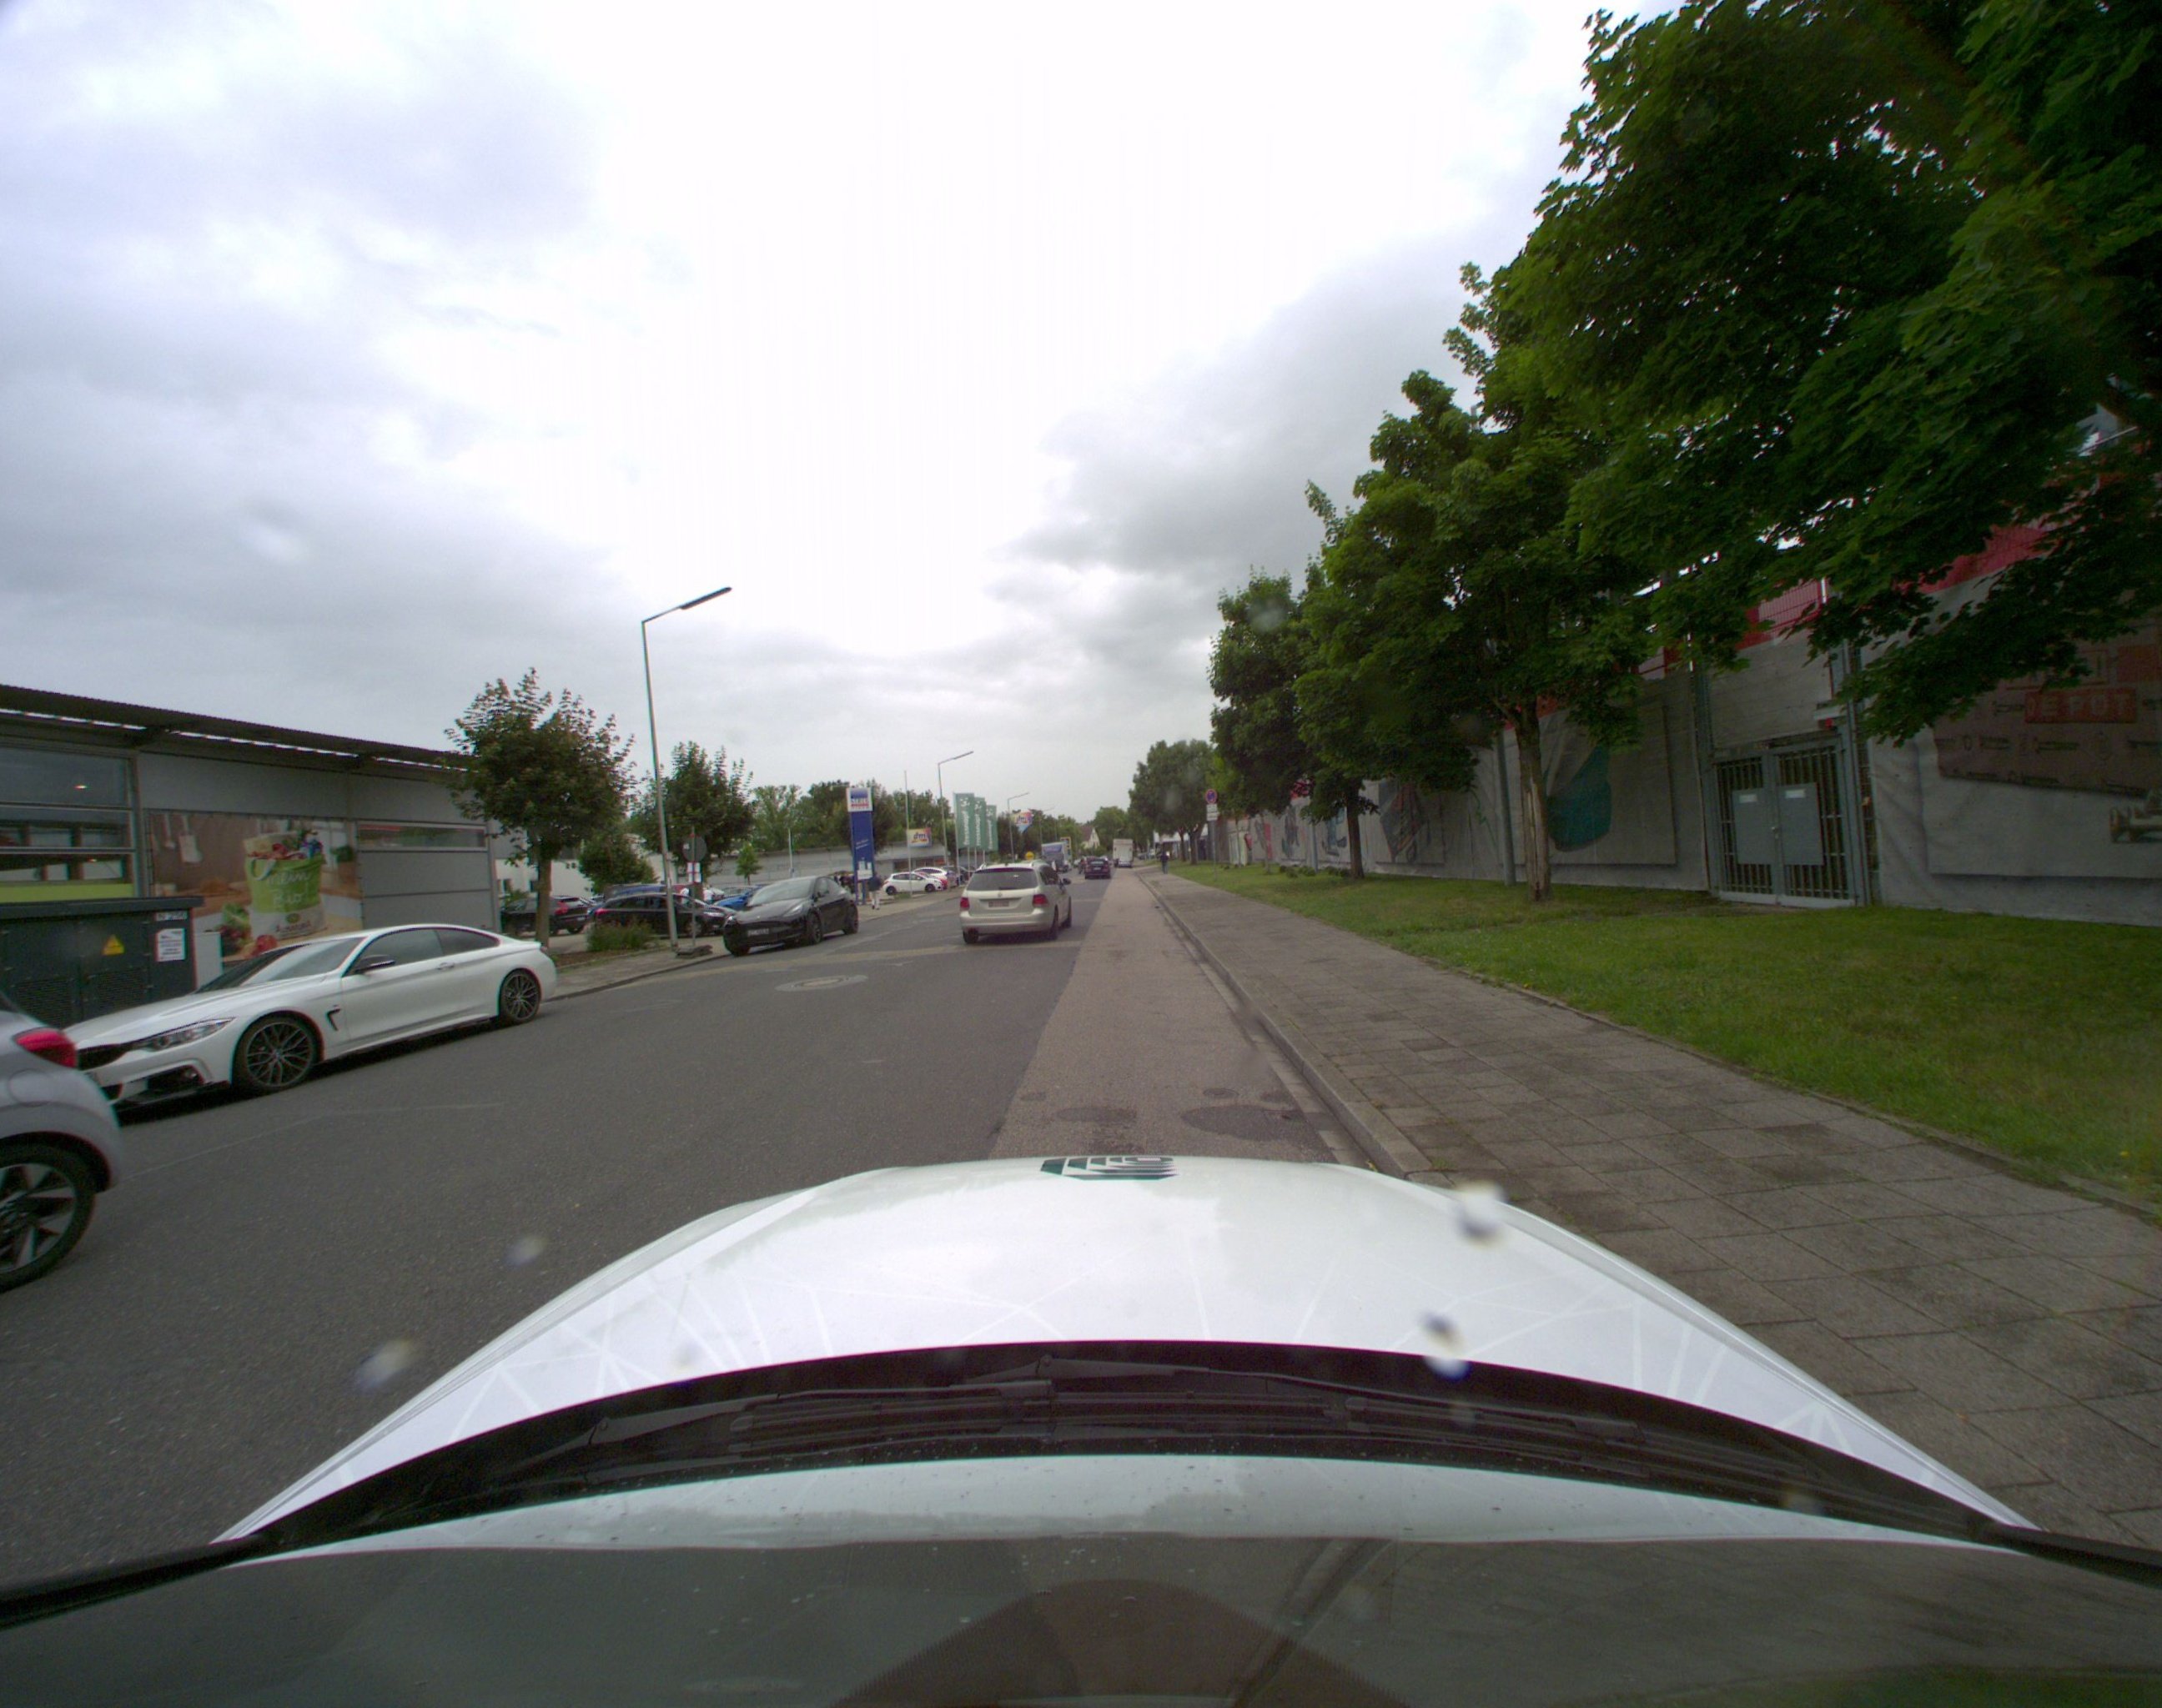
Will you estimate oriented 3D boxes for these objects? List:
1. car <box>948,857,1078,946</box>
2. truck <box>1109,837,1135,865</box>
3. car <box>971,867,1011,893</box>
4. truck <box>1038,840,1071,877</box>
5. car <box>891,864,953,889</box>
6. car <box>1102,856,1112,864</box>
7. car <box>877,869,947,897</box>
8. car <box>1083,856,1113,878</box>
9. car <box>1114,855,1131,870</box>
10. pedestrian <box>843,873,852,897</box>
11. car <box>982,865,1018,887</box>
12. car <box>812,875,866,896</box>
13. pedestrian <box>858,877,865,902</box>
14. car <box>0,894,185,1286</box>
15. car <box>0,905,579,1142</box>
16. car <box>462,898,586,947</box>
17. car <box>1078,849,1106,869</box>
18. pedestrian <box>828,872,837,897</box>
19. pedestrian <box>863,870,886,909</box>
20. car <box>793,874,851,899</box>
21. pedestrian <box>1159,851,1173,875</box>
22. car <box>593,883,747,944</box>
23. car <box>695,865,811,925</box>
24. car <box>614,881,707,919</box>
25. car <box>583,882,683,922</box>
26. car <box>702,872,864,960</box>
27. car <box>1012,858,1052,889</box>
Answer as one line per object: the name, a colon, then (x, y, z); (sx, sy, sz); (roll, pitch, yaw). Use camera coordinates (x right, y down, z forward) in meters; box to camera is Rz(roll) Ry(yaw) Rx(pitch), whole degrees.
car: (-1.181, 0.836, 16.160); (1.744, 1.451, 4.304); (-2, 0, 6)
truck: (5.563, -0.337, 111.760); (3.123, 3.585, 10.053); (-3, -1, 2)
car: (-5.653, 1.611, 51.740); (1.891, 1.367, 4.001); (-5, 0, 1)
truck: (-3.157, 0.541, 97.598); (2.961, 3.955, 6.410); (-6, -1, 3)
car: (-11.561, 1.645, 59.454); (4.126, 1.463, 1.896); (-4, -1, -3)
car: (5.400, 1.263, 171.212); (1.878, 1.531, 4.258); (-5, 0, 4)
car: (-11.245, 1.892, 54.392); (4.196, 1.463, 1.949); (-5, 0, -5)
car: (1.212, 0.901, 56.607); (1.737, 1.358, 4.143); (-4, -1, 5)
car: (5.230, 1.087, 102.443); (1.986, 1.806, 4.001); (-3, -1, 2)
pedestrian: (-15.341, 2.036, 53.548); (0.359, 1.570, 0.502); (-4, -1, -8)
car: (-5.836, 1.545, 58.763); (1.890, 1.367, 4.003); (-4, 0, 3)
car: (-20.878, 2.683, 70.215); (3.970, 1.492, 1.788); (-4, -1, 3)
pedestrian: (-14.284, 2.320, 53.045); (0.330, 1.570, 0.502); (-3, -1, -9)
car: (-5.172, 1.016, 2.112); (1.593, 1.528, 3.530); (-6, -1, 2)
car: (-7.765, 1.482, 8.682); (1.692, 1.367, 4.520); (-9, -1, 2)
car: (-22.793, 2.767, 33.404); (4.018, 1.485, 1.855); (-5, -1, -36)
car: (0.975, 0.498, 76.748); (1.683, 1.632, 3.741); (-4, 0, -13)
pedestrian: (-16.347, 2.002, 53.538); (0.456, 1.642, 0.372); (-4, -1, -15)
pedestrian: (-9.300, 1.588, 36.755); (0.773, 1.715, 0.696); (-4, -1, -2)
car: (-21.098, 2.640, 66.345); (3.971, 1.669, 1.878); (-5, 0, 2)
pedestrian: (5.975, 0.621, 57.519); (0.915, 1.635, 0.854); (-3, -1, 4)
car: (-13.048, 1.858, 26.027); (3.857, 1.620, 1.929); (-3, 0, 3)
car: (-13.372, 1.644, 33.374); (3.922, 2.013, 1.758); (-5, -1, -5)
car: (-22.949, 2.478, 44.562); (3.971, 1.669, 1.878); (-5, 0, 2)
car: (-23.138, 2.449, 42.152); (3.971, 1.669, 1.878); (-5, 0, 2)
car: (-6.862, 1.350, 19.344); (1.940, 1.526, 4.404); (-8, -1, 1)
car: (-2.938, 1.151, 49.663); (1.986, 1.684, 4.001); (-5, 0, 2)
